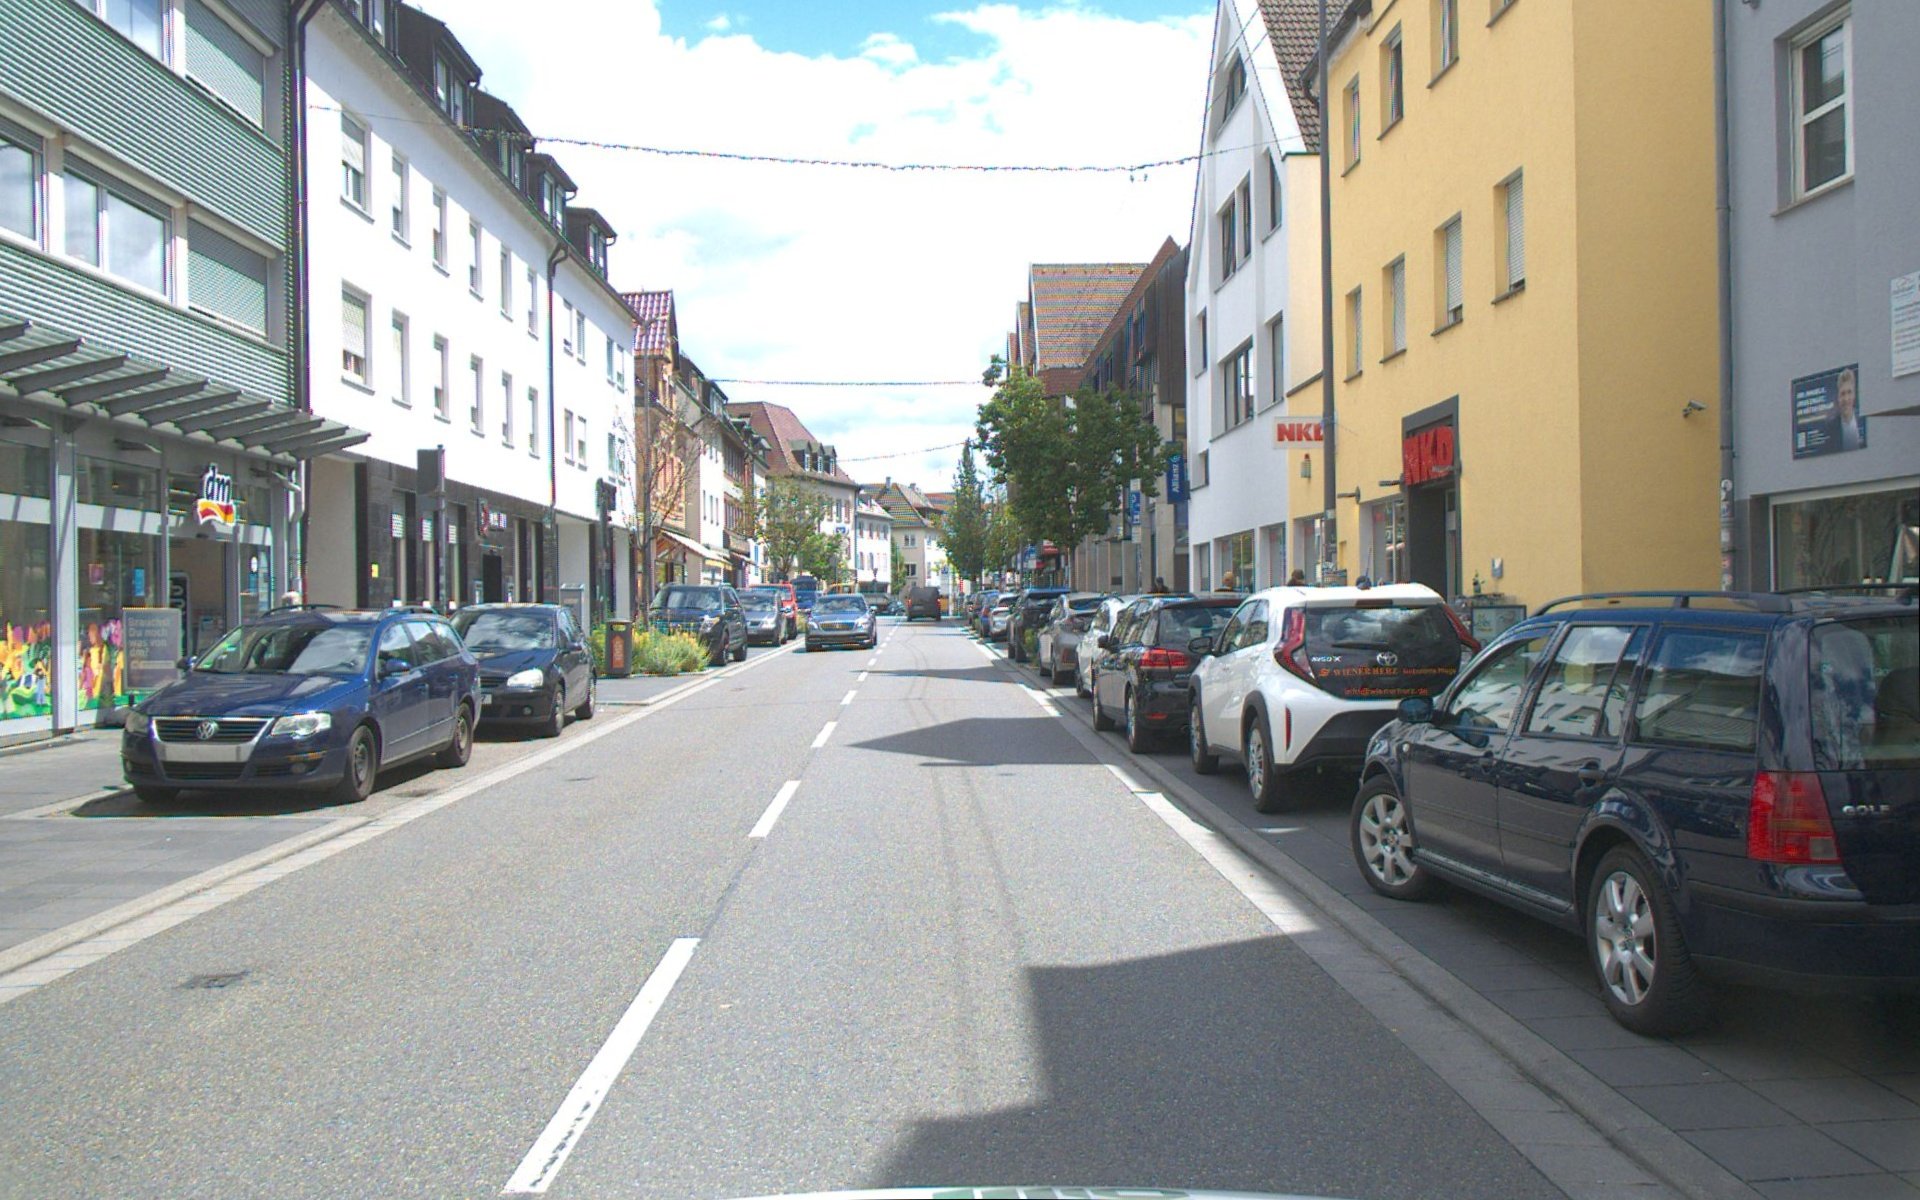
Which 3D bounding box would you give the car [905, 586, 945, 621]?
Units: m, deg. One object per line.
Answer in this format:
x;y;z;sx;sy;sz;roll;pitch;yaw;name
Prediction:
-1.979;0.221;91.379;2.000;1.881;4.996;1;-1;-3;car

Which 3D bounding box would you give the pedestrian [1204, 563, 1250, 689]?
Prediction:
4.041;0.390;25.087;0.576;1.873;0.576;1;-1;-1;pedestrian

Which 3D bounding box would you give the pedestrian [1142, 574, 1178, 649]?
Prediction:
4.797;0.272;39.666;0.726;1.767;0.757;1;-1;-1;pedestrian

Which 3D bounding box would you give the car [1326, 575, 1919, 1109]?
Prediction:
3.013;0.680;6.892;1.656;1.465;4.291;-3;0;-5;car

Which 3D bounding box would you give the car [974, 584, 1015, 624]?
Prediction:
1.409;0.168;68.134;1.576;1.559;3.794;-2;0;0;car

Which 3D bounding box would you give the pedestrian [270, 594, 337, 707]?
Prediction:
-8.747;0.664;22.056;0.641;1.480;0.563;1;-1;-1;pedestrian

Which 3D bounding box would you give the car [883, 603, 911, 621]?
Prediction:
-5.290;1.032;139.146;1.590;1.512;3.808;1;-1;10;car

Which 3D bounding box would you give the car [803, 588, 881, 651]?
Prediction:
-3.242;0.537;46.331;1.867;1.591;4.644;-2;-1;-1;car

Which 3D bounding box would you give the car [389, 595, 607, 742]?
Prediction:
-5.464;0.744;20.067;1.755;1.529;4.174;1;1;-5;car

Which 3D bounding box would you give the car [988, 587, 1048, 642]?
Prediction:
1.759;0.448;51.616;1.686;1.604;4.428;1;-1;0;car

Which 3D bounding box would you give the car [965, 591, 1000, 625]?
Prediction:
1.077;0.377;79.972;1.577;1.521;3.794;-4;0;0;car

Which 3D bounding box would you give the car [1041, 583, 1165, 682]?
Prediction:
2.327;0.525;27.857;1.686;1.502;4.353;1;-1;0;car

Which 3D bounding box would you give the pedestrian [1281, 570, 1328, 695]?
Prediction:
5.229;0.486;25.110;0.576;1.873;0.576;1;-1;-1;pedestrian

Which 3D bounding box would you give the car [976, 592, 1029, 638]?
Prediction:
1.441;0.531;57.203;1.686;1.520;4.108;1;-1;0;car

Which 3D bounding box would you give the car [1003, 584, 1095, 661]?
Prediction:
1.930;0.505;37.022;1.686;1.604;4.107;1;-1;-2;car

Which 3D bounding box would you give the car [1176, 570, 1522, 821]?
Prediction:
2.776;0.642;12.629;1.655;1.601;3.755;1;-1;-2;car

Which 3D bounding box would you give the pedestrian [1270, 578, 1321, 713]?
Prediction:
4.735;0.634;23.370;0.576;1.873;0.576;1;-1;-1;pedestrian

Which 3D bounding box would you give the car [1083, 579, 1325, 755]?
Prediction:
2.367;0.578;17.121;1.655;1.497;4.522;1;1;-2;car

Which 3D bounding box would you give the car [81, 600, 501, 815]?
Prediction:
-5.473;0.775;14.273;1.754;1.539;4.711;0;0;-1;car

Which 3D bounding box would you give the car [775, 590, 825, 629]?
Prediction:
-6.800;0.377;70.542;1.763;1.626;4.388;0;0;-1;car

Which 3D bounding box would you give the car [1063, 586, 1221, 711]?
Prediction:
2.380;0.618;22.729;1.597;1.502;4.957;1;-1;0;car

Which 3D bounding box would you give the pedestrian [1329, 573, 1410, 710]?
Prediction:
4.844;0.485;19.611;0.734;1.580;0.725;-1;-1;-2;pedestrian

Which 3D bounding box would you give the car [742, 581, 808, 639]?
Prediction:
-6.453;0.359;58.042;1.779;1.922;4.840;1;-1;-1;car

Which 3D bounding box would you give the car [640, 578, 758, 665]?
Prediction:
-5.769;0.472;37.043;1.778;1.786;4.669;1;-1;1;car

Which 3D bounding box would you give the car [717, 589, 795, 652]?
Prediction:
-6.126;0.606;50.016;1.779;1.786;4.463;1;-1;0;car
